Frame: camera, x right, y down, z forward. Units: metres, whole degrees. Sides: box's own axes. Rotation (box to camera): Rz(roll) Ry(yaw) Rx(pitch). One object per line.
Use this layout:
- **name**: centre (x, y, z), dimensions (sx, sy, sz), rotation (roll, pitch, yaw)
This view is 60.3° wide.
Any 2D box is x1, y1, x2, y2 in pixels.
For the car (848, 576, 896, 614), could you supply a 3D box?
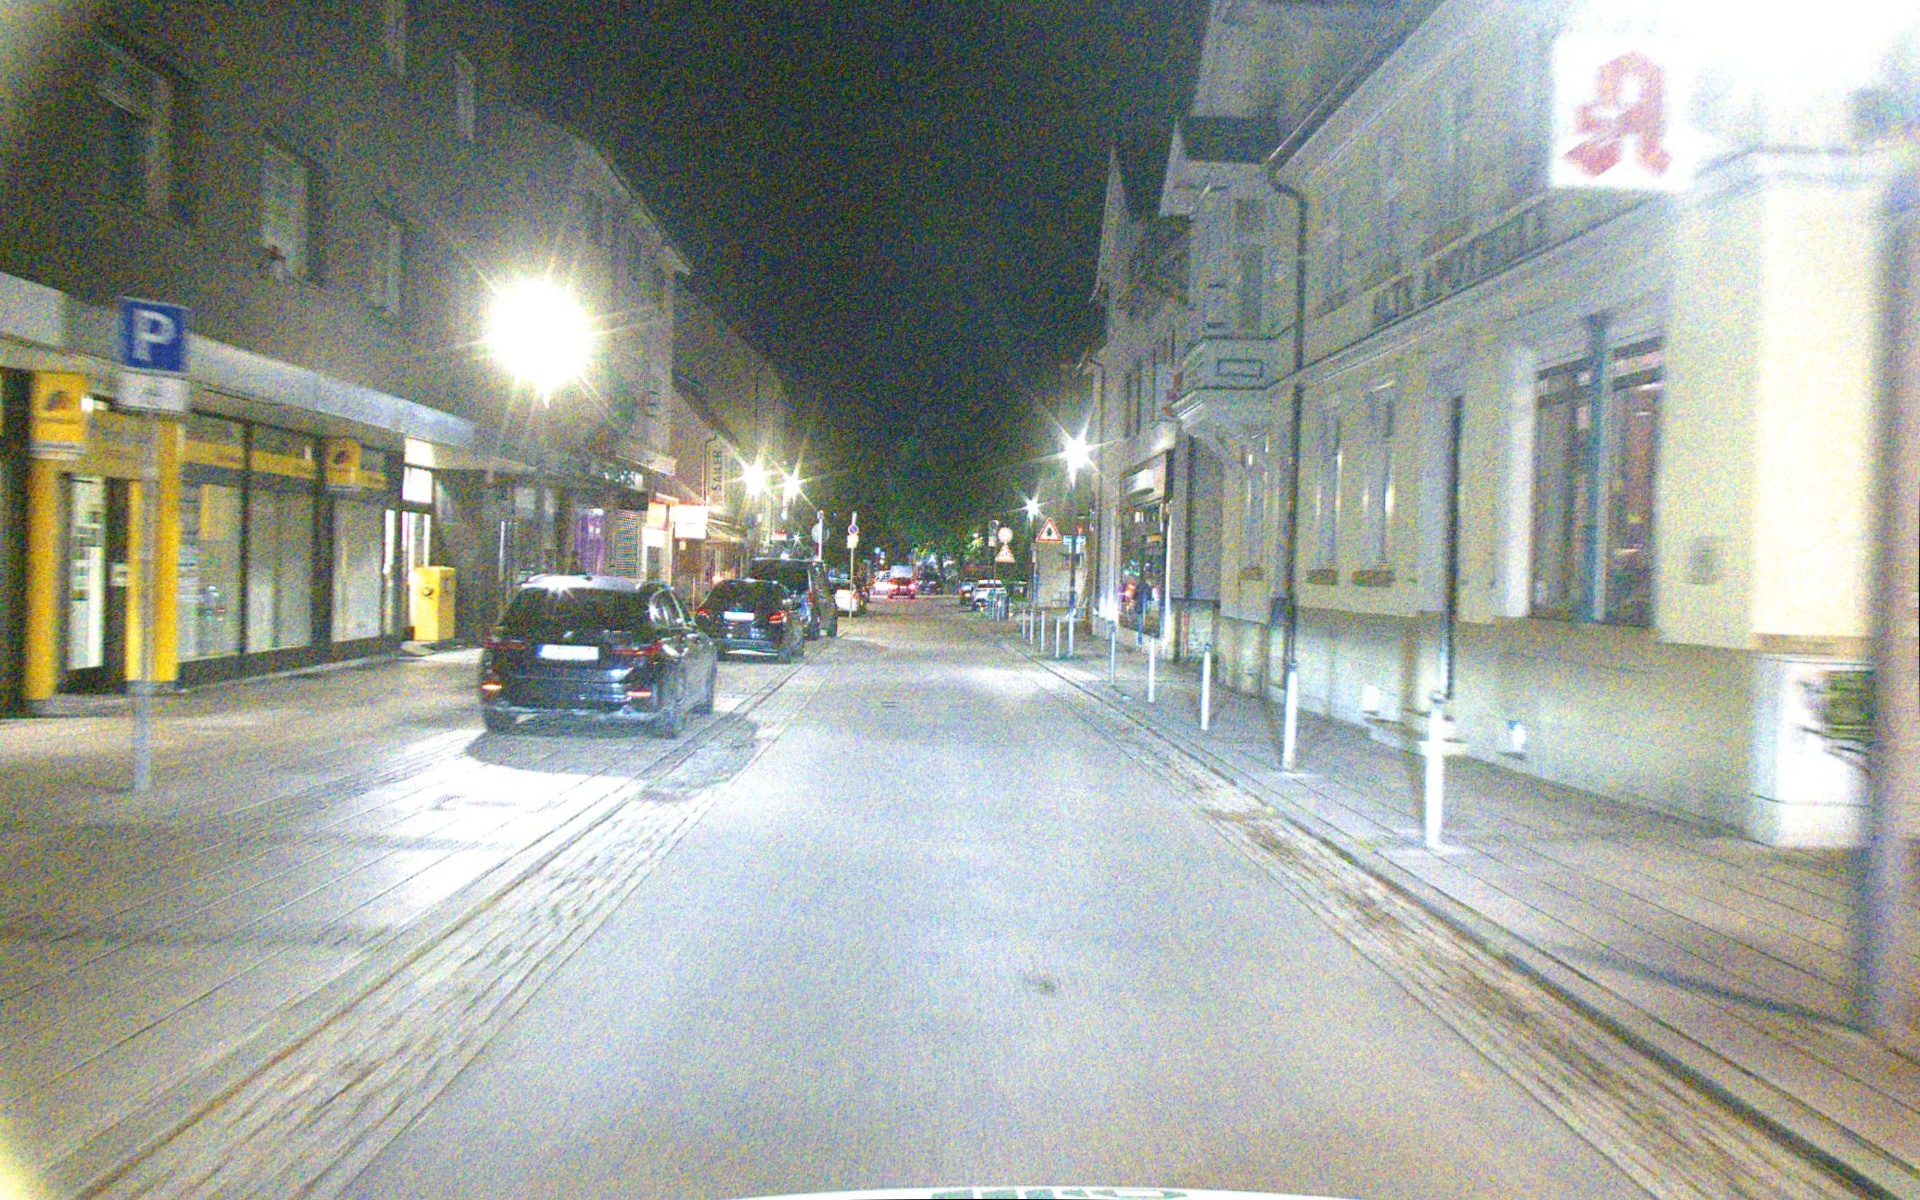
- **car**: centre (-3.934, -0.248, 74.620), dimensions (1.979, 1.513, 5.006), rotation (4, 1, -2)

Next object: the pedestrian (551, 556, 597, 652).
- **pedestrian**: centre (-7.284, 0.072, 31.250), dimensions (0.608, 1.776, 1.022), rotation (1, 0, -1)

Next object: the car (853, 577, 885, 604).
- **car**: centre (-5.666, -0.619, 102.690), dimensions (1.642, 1.570, 4.224), rotation (2, 1, -7)

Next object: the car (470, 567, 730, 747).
- **car**: centre (-3.415, 0.474, 16.499), dimensions (1.761, 1.503, 4.319), rotation (2, 0, -2)

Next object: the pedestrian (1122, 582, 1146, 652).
- **pedestrian**: centre (3.987, 0.386, 37.886), dimensions (0.490, 1.574, 0.480), rotation (2, 0, 4)

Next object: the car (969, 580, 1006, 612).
- **car**: centre (1.360, -0.235, 82.864), dimensions (1.753, 1.517, 4.058), rotation (-1, 1, -1)

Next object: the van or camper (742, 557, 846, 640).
- **van or camper**: centre (-4.212, -0.072, 42.728), dimensions (1.807, 1.975, 5.156), rotation (2, 1, 4)

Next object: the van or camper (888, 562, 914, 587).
- **van or camper**: centre (-5.719, -2.509, 159.780), dimensions (2.069, 2.357, 4.254), rotation (-1, 1, -8)

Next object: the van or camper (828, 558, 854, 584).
- **van or camper**: centre (-10.155, -2.484, 140.473), dimensions (1.832, 2.046, 4.254), rotation (2, 1, -8)

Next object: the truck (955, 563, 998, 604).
- **truck**: centre (0.952, -1.032, 98.209), dimensions (2.289, 2.352, 5.779), rotation (0, 1, -2)

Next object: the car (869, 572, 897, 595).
- **car**: centre (-6.247, -1.355, 134.013), dimensions (1.955, 1.732, 3.995), rotation (1, 1, -7)

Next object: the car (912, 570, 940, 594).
- **car**: centre (-2.736, -1.489, 133.745), dimensions (1.781, 1.860, 4.340), rotation (0, 1, -8)

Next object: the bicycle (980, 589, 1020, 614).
- **bicycle**: centre (1.735, 0.069, 71.401), dimensions (1.720, 1.080, 0.346), rotation (0, 1, -5)

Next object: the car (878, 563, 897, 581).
- **car**: centre (-7.851, -3.056, 178.731), dimensions (1.804, 1.934, 3.840), rotation (1, 1, -7)

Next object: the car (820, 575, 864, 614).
- **car**: centre (-4.899, -0.238, 69.066), dimensions (1.694, 1.502, 3.845), rotation (2, 1, -3)

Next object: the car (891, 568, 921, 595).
- **car**: centre (-3.904, -1.324, 119.095), dimensions (1.954, 1.855, 3.997), rotation (1, 1, -4)

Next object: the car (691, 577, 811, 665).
- **car**: centre (-3.799, 0.330, 30.733), dimensions (1.682, 1.437, 4.385), rotation (2, 1, -1)
